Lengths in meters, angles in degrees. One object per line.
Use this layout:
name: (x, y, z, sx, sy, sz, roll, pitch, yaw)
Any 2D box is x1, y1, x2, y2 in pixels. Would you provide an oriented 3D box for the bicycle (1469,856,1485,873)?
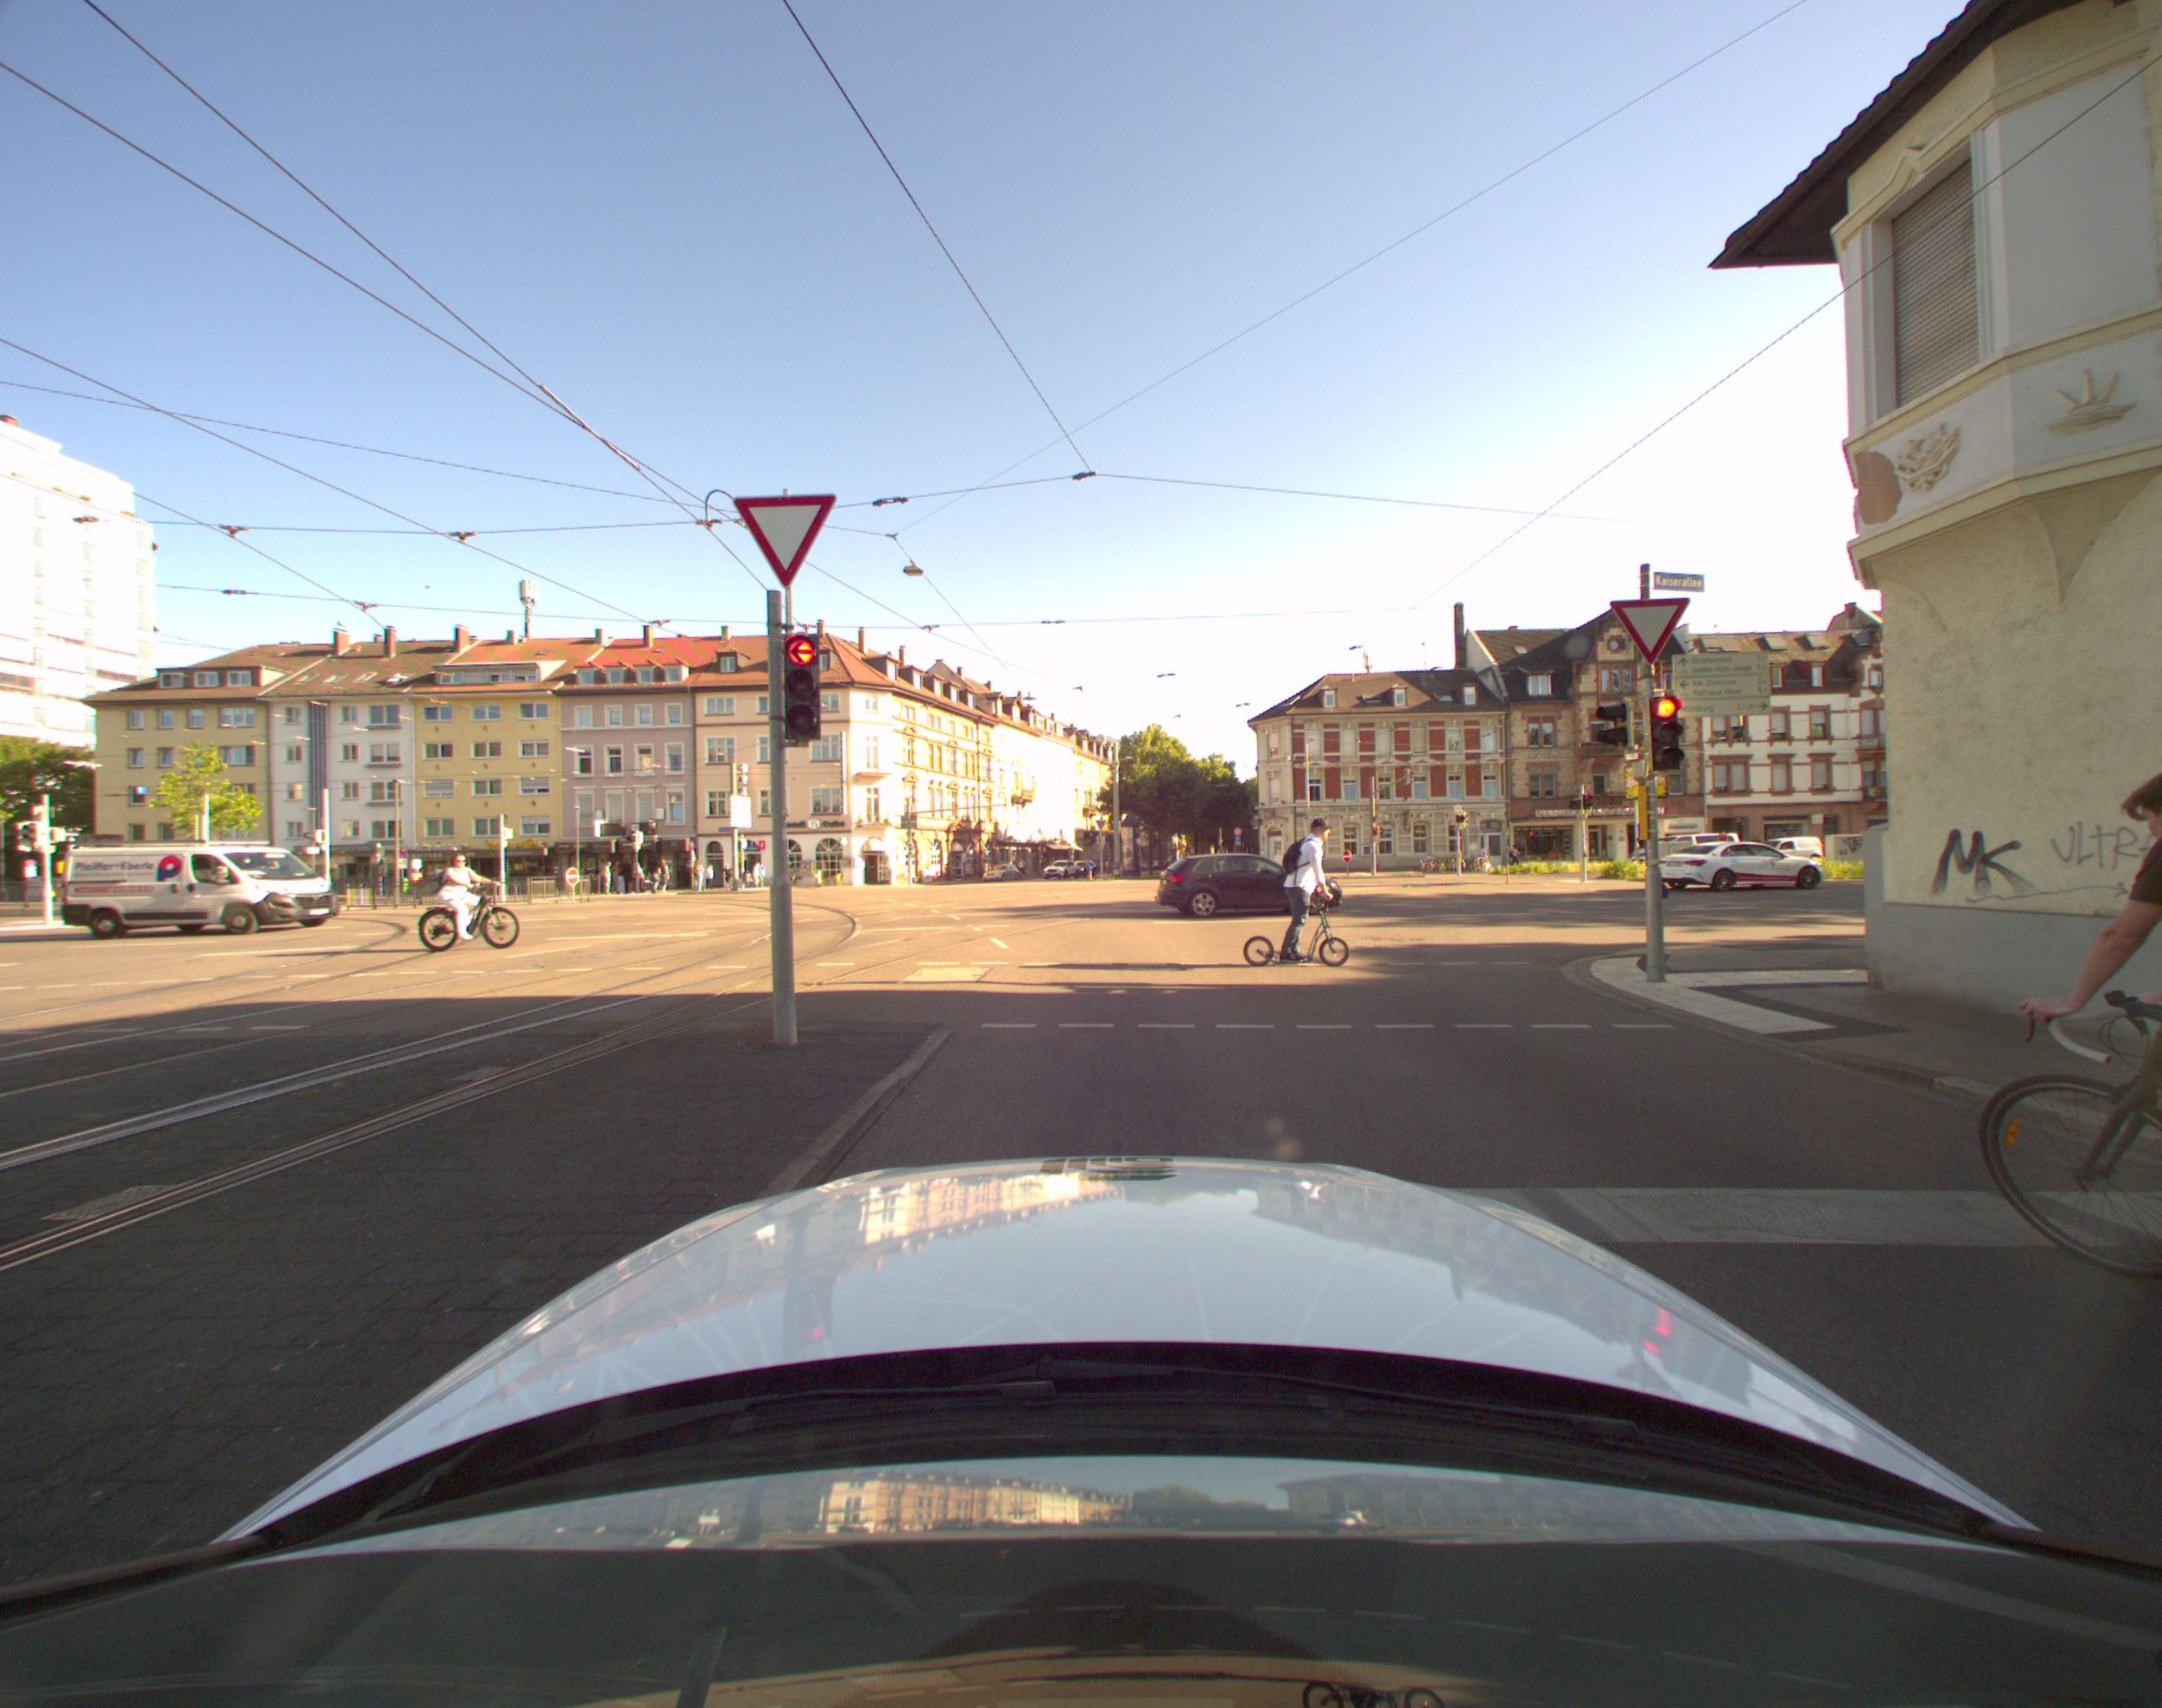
bicycle: (25.633, 0.667, 52.772, 0.483, 1.020, 1.789, -1, 0, 12)

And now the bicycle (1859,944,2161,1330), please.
bicycle: (3.571, 0.916, 2.508, 0.568, 1.058, 1.890, -1, 0, 2)

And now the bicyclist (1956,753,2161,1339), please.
bicyclist: (3.569, 0.573, 2.506, 0.649, 1.767, 0.995, -1, 0, 2)

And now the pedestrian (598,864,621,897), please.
pedestrian: (-23.606, 1.325, 40.779, 0.738, 1.635, 0.572, -1, 0, 1)

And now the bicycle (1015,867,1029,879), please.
bicycle: (-4.760, 1.532, 65.573, 0.650, 1.000, 1.671, -1, -1, 14)

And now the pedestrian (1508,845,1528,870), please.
pedestrian: (30.078, 0.218, 56.052, 1.029, 1.712, 0.631, -1, -1, 10)

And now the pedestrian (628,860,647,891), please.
pedestrian: (-22.944, 1.091, 42.137, 0.697, 1.581, 0.559, -1, 0, -4)

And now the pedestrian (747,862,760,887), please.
pedestrian: (-22.398, 1.427, 55.691, 0.744, 1.682, 0.623, -1, 0, -23)

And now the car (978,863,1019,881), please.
car: (-6.757, 1.477, 67.367, 1.977, 1.361, 3.836, -1, 0, 18)

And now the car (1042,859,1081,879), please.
car: (-1.587, 1.218, 67.674, 1.977, 1.516, 4.189, -1, 0, 18)

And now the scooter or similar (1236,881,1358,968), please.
scooter or similar: (2.792, 0.905, 10.605, 1.426, 1.043, 0.565, -1, 0, 1)

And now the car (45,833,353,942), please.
car: (-21.869, 0.766, 20.401, 5.100, 2.432, 2.079, -2, 1, -4)

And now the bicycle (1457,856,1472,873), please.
bicycle: (24.821, 0.673, 52.724, 0.483, 1.020, 1.789, -1, 0, 12)

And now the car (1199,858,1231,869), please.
car: (17.333, 1.225, 105.169, 3.959, 1.288, 1.700, -1, 0, 13)

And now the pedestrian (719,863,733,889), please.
pedestrian: (-23.071, 1.411, 52.934, 0.744, 1.682, 0.623, -1, 0, -23)

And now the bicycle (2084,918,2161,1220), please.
bicycle: (4.514, 0.855, 2.494, 0.568, 1.165, 1.890, -1, 0, 2)

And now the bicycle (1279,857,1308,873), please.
bicycle: (14.916, 0.748, 57.147, 1.940, 1.054, 0.717, -1, 0, 11)

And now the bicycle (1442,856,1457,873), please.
bicycle: (23.859, 0.680, 52.765, 0.483, 1.020, 1.789, -1, 0, 12)

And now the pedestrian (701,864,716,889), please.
pedestrian: (-25.986, 1.581, 56.804, 0.740, 1.682, 0.626, -1, 0, -10)

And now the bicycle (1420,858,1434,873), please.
bicycle: (22.487, 0.729, 52.987, 0.483, 0.914, 1.789, -1, 0, 12)

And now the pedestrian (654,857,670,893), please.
pedestrian: (-21.563, 1.080, 41.920, 0.559, 1.786, 0.559, -1, 0, -4)

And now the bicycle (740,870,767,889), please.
bicycle: (-23.063, 1.790, 57.415, 1.714, 1.276, 0.385, -1, 0, -16)

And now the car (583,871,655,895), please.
car: (-30.342, 1.902, 53.536, 3.711, 1.491, 1.820, 0, -1, 4)

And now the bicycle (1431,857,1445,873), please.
bicycle: (23.163, 0.719, 52.883, 0.483, 1.020, 1.789, -1, 0, 12)

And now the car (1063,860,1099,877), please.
car: (0.032, 1.311, 73.812, 1.977, 1.404, 4.189, -1, 0, 18)

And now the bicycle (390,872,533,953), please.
bicycle: (-10.624, 0.996, 14.002, 1.934, 1.299, 0.623, -2, 0, 0)

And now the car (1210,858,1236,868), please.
car: (19.377, 1.214, 111.197, 3.409, 1.239, 1.582, -1, 0, 13)

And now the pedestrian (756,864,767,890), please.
pedestrian: (-15.772, 1.134, 40.208, 0.364, 1.253, 0.449, -1, 0, -10)

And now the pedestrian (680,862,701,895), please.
pedestrian: (-20.207, 1.277, 42.191, 0.738, 1.682, 0.628, -1, 0, 1)

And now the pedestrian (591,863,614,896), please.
pedestrian: (-24.900, 1.308, 42.381, 0.764, 1.682, 0.628, -1, 0, 1)

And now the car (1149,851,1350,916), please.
car: (3.825, 0.641, 18.848, 4.264, 1.381, 1.642, 0, 0, -6)

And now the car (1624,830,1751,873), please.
car: (31.094, -0.114, 41.868, 4.962, 2.013, 2.001, -1, 0, 1)

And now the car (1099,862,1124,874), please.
car: (3.830, 1.713, 102.181, 1.977, 1.404, 4.189, -1, 0, 18)

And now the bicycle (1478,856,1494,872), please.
bicycle: (26.337, 0.663, 52.927, 0.483, 1.020, 1.789, -1, 0, 12)

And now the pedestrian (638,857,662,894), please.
pedestrian: (-21.597, 1.085, 40.828, 0.764, 1.829, 0.723, -1, 0, 1)

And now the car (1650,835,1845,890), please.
car: (19.866, 0.231, 24.379, 4.664, 1.473, 1.738, -1, 0, -6)

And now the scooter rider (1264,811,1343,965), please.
scooter rider: (2.882, 0.427, 10.614, 0.792, 1.912, 0.797, -1, 0, 1)

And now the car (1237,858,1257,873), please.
car: (16.800, 1.131, 82.301, 1.742, 1.420, 4.016, -1, 0, 14)

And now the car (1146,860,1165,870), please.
car: (11.195, 1.691, 122.508, 1.977, 1.404, 4.189, -1, 0, 18)

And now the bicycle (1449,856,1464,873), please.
bicycle: (24.318, 0.677, 52.815, 0.483, 1.020, 1.789, -1, 0, 12)

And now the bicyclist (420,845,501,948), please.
bicyclist: (-10.670, 0.712, 14.023, 0.796, 1.715, 0.734, -1, 0, 0)

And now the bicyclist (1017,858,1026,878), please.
bicyclist: (-4.765, 1.094, 65.475, 0.486, 1.601, 0.668, -1, 0, 12)

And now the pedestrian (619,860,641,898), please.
pedestrian: (-22.502, 1.242, 40.611, 0.625, 1.850, 0.778, -1, 0, 1)

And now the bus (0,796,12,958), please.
bus: (-27.820, 0.536, 16.135, 9.382, 3.457, 2.779, 0, 1, -1)

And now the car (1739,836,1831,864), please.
car: (45.296, -0.250, 52.494, 4.239, 1.622, 1.999, -1, 0, -1)
